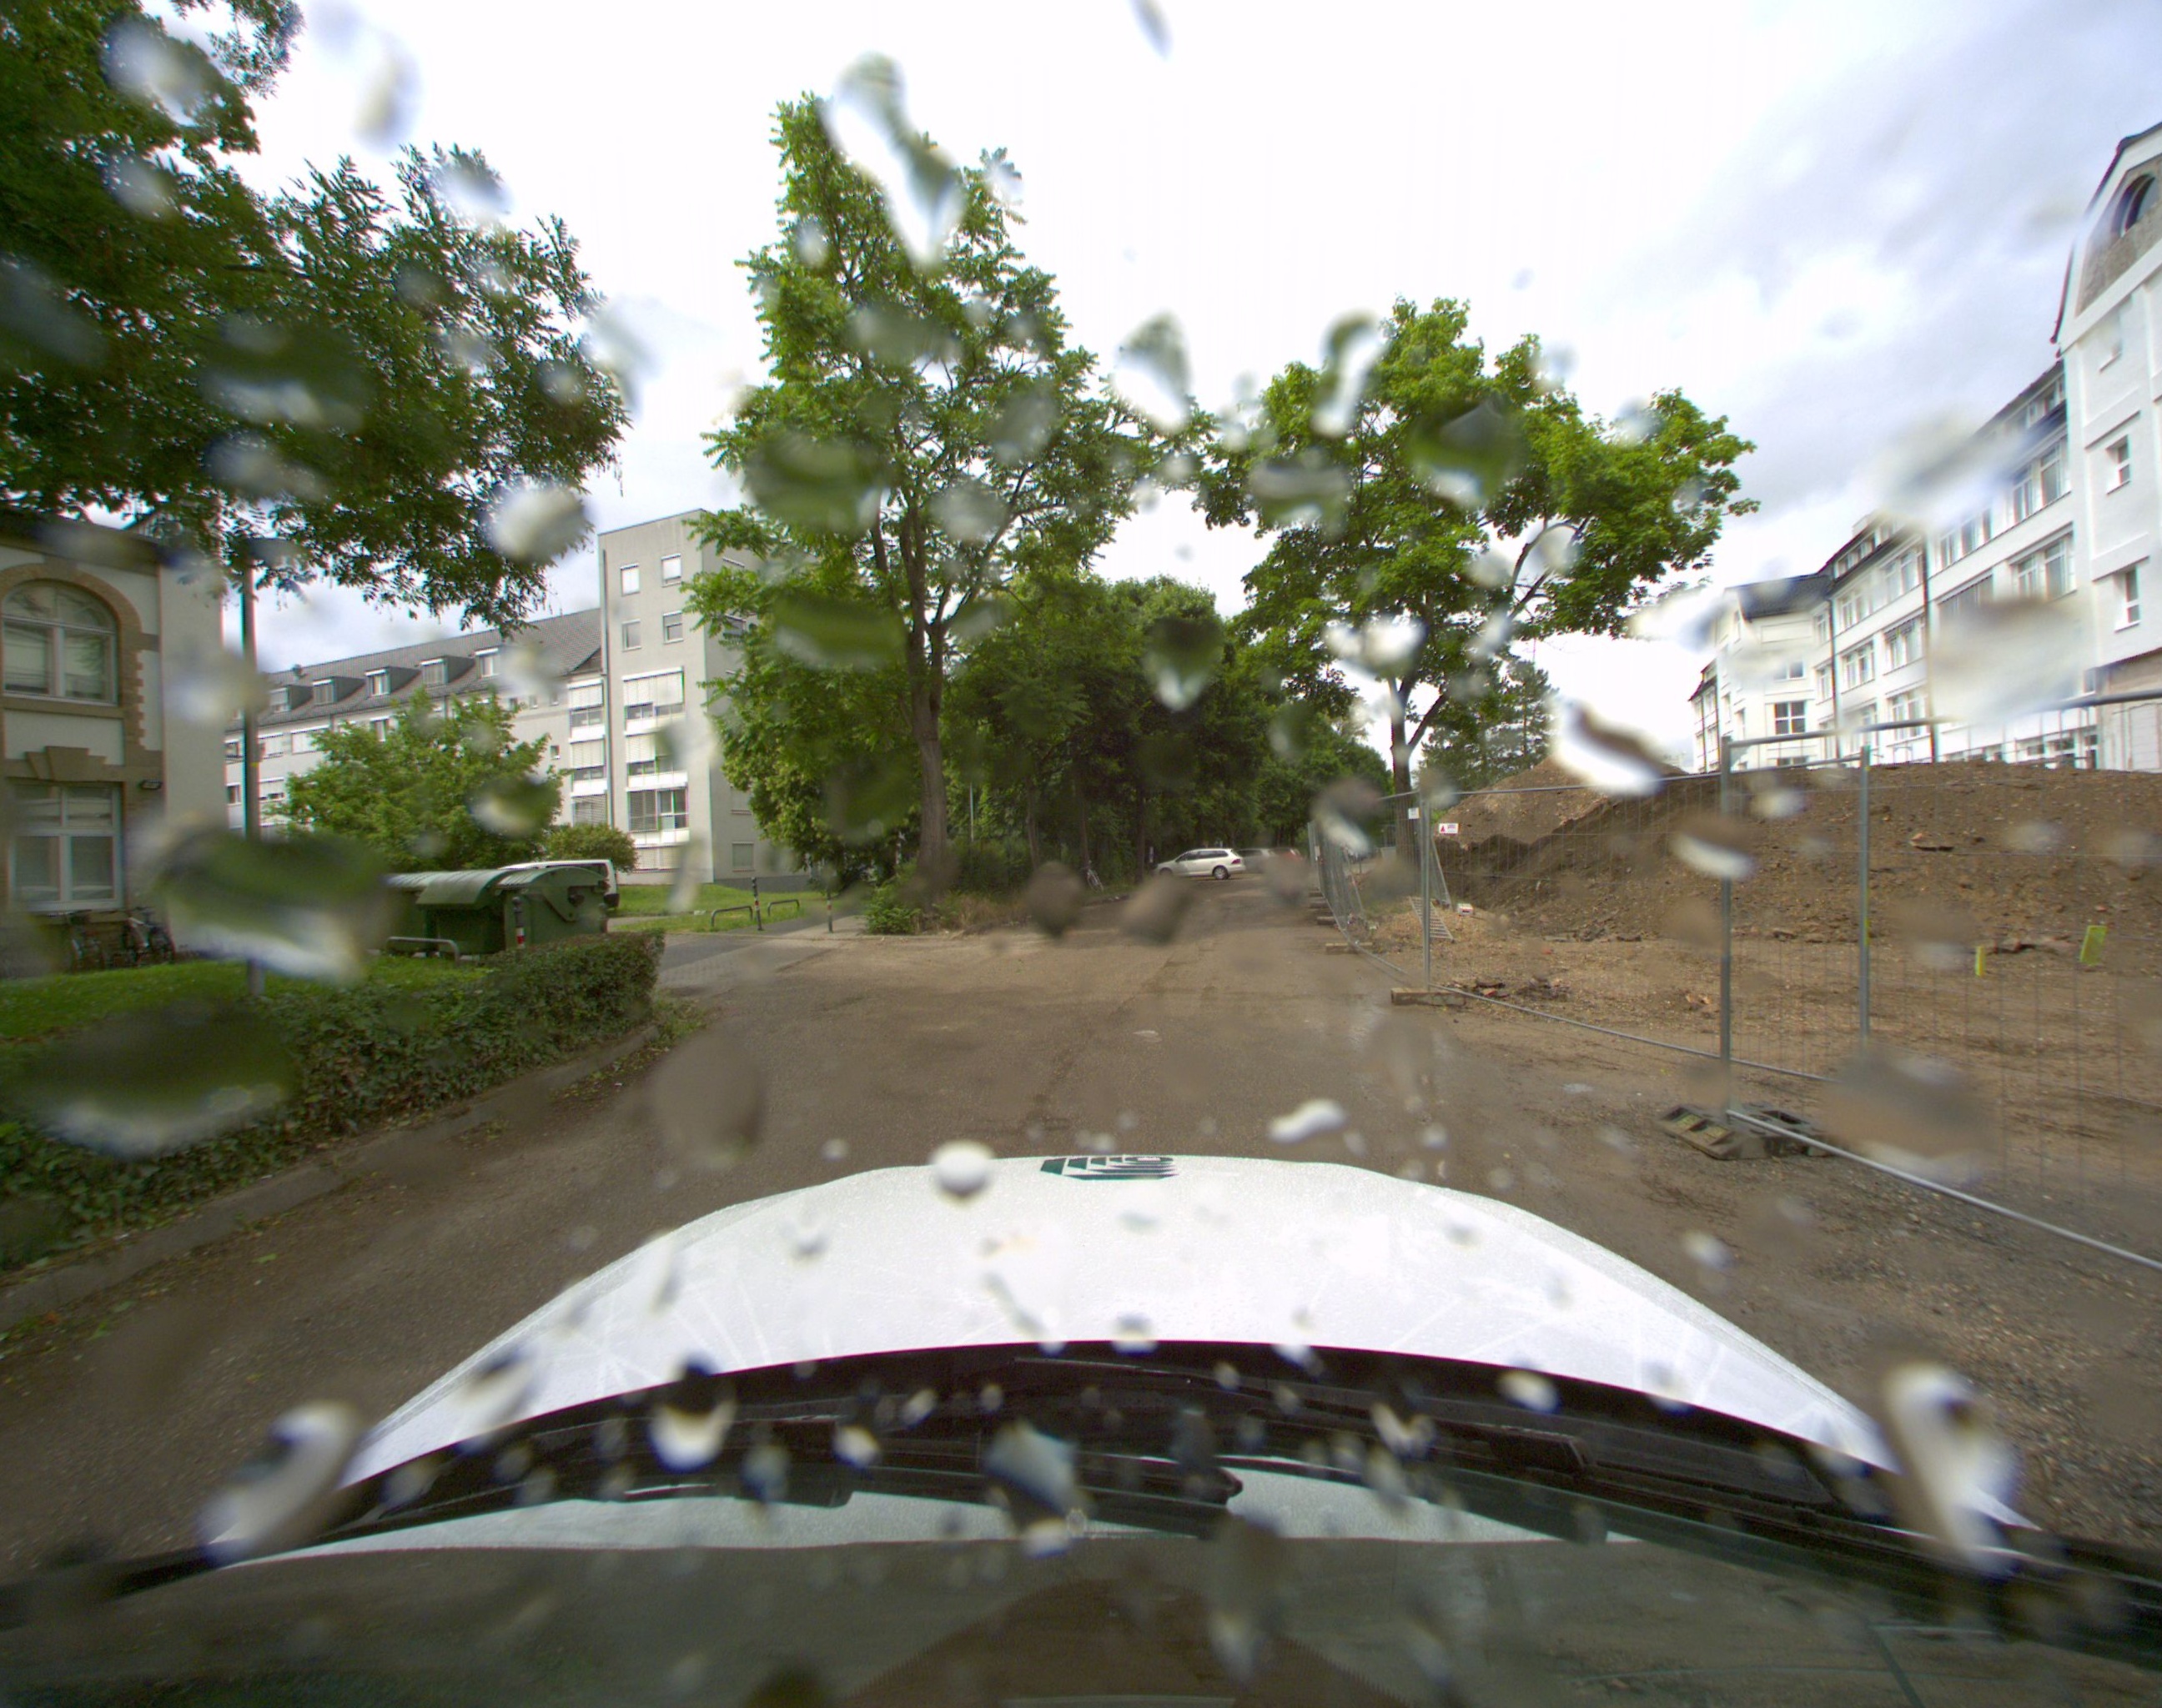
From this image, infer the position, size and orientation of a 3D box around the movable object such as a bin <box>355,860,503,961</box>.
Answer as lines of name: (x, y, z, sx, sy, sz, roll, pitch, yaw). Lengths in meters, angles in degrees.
movable object such as a bin: (-10.256, 0.852, 12.846, 1.335, 1.471, 1.372, -2, -1, 27)

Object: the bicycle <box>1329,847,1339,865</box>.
bicycle: (18.585, 0.148, 59.842, 0.591, 1.308, 2.680, -1, -1, 16)

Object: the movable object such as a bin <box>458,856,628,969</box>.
movable object such as a bin: (-7.597, 0.782, 11.546, 1.541, 1.471, 1.422, -2, -1, 27)

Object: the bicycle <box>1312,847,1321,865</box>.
bicycle: (17.383, 0.176, 60.195, 0.591, 1.308, 2.680, -1, -1, 16)

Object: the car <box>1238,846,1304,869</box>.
car: (12.260, 0.253, 52.569, 4.003, 1.409, 1.990, -1, -1, 17)

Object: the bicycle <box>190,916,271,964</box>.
bicycle: (-15.504, 1.547, 14.836, 2.031, 0.799, 0.456, -2, -2, 27)

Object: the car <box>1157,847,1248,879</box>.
car: (5.834, 0.448, 38.995, 4.003, 1.409, 1.990, -1, -1, 17)

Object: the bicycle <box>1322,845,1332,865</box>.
bicycle: (16.877, 0.101, 55.980, 0.591, 1.308, 2.680, -1, -1, 16)

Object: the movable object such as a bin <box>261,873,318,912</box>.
movable object such as a bin: (-31.082, 1.505, 31.994, 1.088, 1.483, 1.286, -2, -2, 27)

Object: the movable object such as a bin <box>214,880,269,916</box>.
movable object such as a bin: (-31.788, 1.642, 30.841, 1.042, 1.317, 1.185, -2, -1, 27)

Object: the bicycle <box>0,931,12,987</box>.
bicycle: (-16.771, 1.566, 12.269, 2.031, 0.799, 0.456, -2, -2, 27)

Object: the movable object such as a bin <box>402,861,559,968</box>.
movable object such as a bin: (-8.978, 0.861, 12.214, 1.446, 1.471, 1.372, -2, -1, 27)

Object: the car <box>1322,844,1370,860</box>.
car: (24.785, -0.162, 76.113, 3.997, 1.409, 1.993, -2, -1, 27)

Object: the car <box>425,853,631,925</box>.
car: (-17.289, 1.023, 25.778, 1.974, 2.014, 4.984, -3, -1, 30)

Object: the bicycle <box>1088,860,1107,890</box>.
bicycle: (0.532, 0.640, 25.519, 0.464, 0.879, 1.573, -1, 1, 5)

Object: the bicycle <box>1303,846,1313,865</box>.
bicycle: (15.679, 0.127, 56.227, 0.591, 1.308, 2.680, -1, -1, 16)

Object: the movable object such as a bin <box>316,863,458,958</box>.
movable object such as a bin: (-11.480, 0.891, 13.504, 1.348, 1.471, 1.372, -2, -1, 27)

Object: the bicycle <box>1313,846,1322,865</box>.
bicycle: (16.279, 0.129, 56.111, 0.591, 1.267, 2.680, -1, -1, 16)

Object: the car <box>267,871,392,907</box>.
car: (-36.582, 1.675, 39.763, 1.768, 1.354, 4.025, -3, 2, 27)

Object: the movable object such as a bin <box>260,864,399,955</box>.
movable object such as a bin: (-13.027, 0.931, 14.141, 1.348, 1.471, 1.372, -2, -1, 27)

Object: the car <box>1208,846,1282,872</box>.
car: (9.543, 0.316, 47.366, 4.003, 1.409, 1.990, -1, -1, 17)

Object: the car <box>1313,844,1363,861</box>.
car: (23.353, -0.117, 74.043, 3.997, 1.409, 1.993, -2, -1, 27)

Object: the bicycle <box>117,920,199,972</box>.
bicycle: (-15.963, 1.572, 14.077, 2.031, 0.799, 0.456, -2, -2, 27)

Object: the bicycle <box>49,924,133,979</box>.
bicycle: (-16.224, 1.577, 13.330, 2.031, 0.799, 0.456, -2, -2, 27)
